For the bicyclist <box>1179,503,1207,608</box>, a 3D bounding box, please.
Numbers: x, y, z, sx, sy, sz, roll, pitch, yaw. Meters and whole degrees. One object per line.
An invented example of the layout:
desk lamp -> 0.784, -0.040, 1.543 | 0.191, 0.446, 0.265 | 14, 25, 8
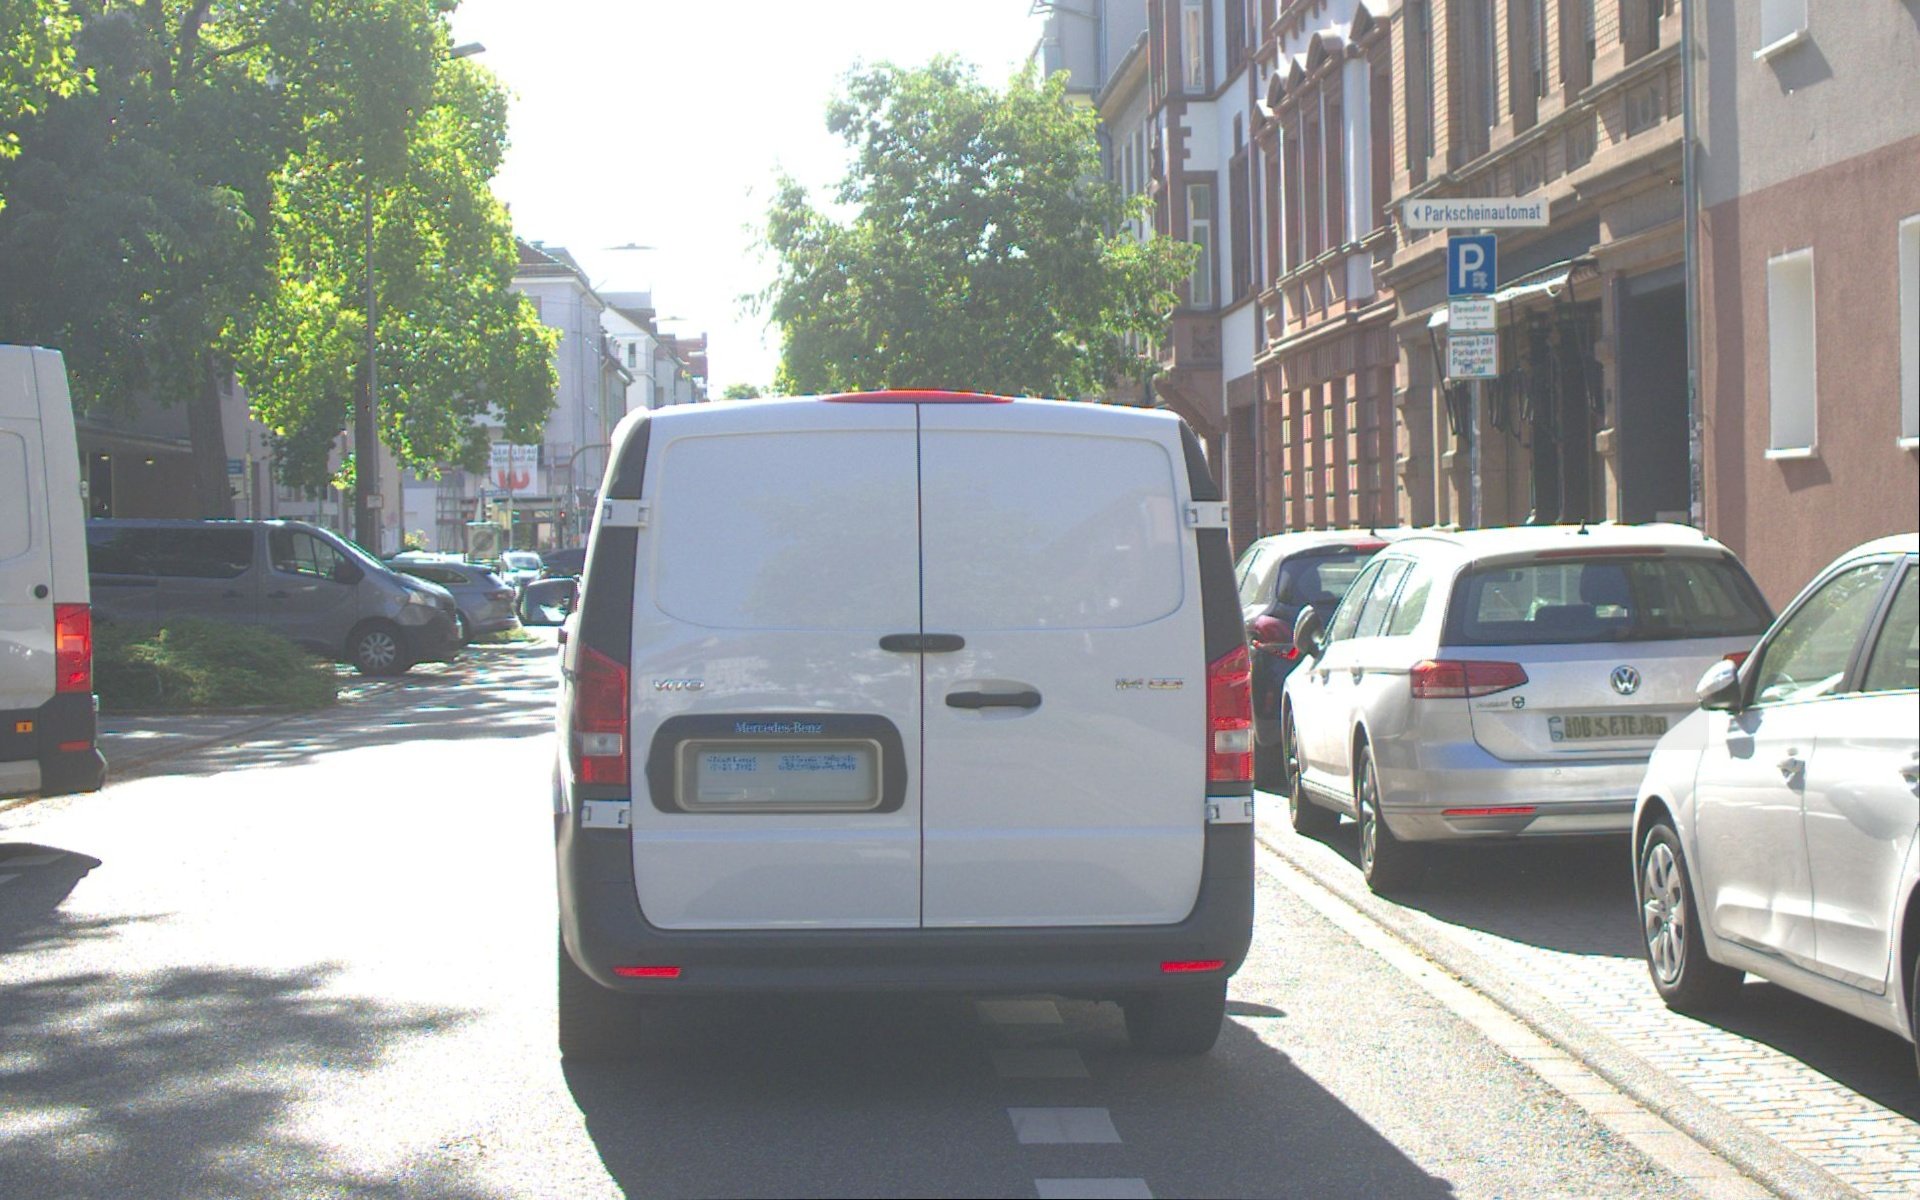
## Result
bicyclist -> 3.283, -0.626, 48.522 | 0.361, 1.472, 0.531 | 0, 1, 0

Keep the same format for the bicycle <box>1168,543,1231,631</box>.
bicycle -> 3.365, -0.176, 48.466 | 0.536, 1.145, 2.124 | -8, 0, -2

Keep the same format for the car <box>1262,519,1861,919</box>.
car -> 2.481, 0.412, 15.294 | 1.785, 1.455, 4.517 | -2, 1, 0

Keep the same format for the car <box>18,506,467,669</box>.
car -> -8.973, -0.170, 43.340 | 5.292, 1.967, 2.016 | 0, 1, -3

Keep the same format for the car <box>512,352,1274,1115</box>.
car -> -0.422, 0.284, 11.118 | 1.920, 1.907, 4.889 | 0, 1, -6

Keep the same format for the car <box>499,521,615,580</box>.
car -> -14.480, -1.783, 123.685 | 3.986, 2.007, 2.000 | -1, 1, -2

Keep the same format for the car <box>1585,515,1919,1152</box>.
car -> 3.032, 0.508, 9.234 | 1.731, 1.481, 3.795 | -3, 1, -4

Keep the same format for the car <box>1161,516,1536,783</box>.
car -> 2.304, 0.248, 21.242 | 1.709, 1.475, 3.711 | -1, 1, -3

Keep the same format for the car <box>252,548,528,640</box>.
car -> -9.484, -0.114, 57.436 | 4.305, 1.455, 1.762 | 1, 1, 0

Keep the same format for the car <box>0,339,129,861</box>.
car -> -7.376, 0.057, 15.792 | 6.582, 2.465, 2.000 | -2, 1, -29

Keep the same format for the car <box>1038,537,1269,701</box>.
car -> 1.786, 0.133, 32.874 | 1.738, 1.446, 4.001 | -1, 1, -3

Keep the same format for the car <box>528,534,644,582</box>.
car -> -13.115, -1.474, 120.627 | 3.986, 1.634, 2.000 | -1, 1, -6
